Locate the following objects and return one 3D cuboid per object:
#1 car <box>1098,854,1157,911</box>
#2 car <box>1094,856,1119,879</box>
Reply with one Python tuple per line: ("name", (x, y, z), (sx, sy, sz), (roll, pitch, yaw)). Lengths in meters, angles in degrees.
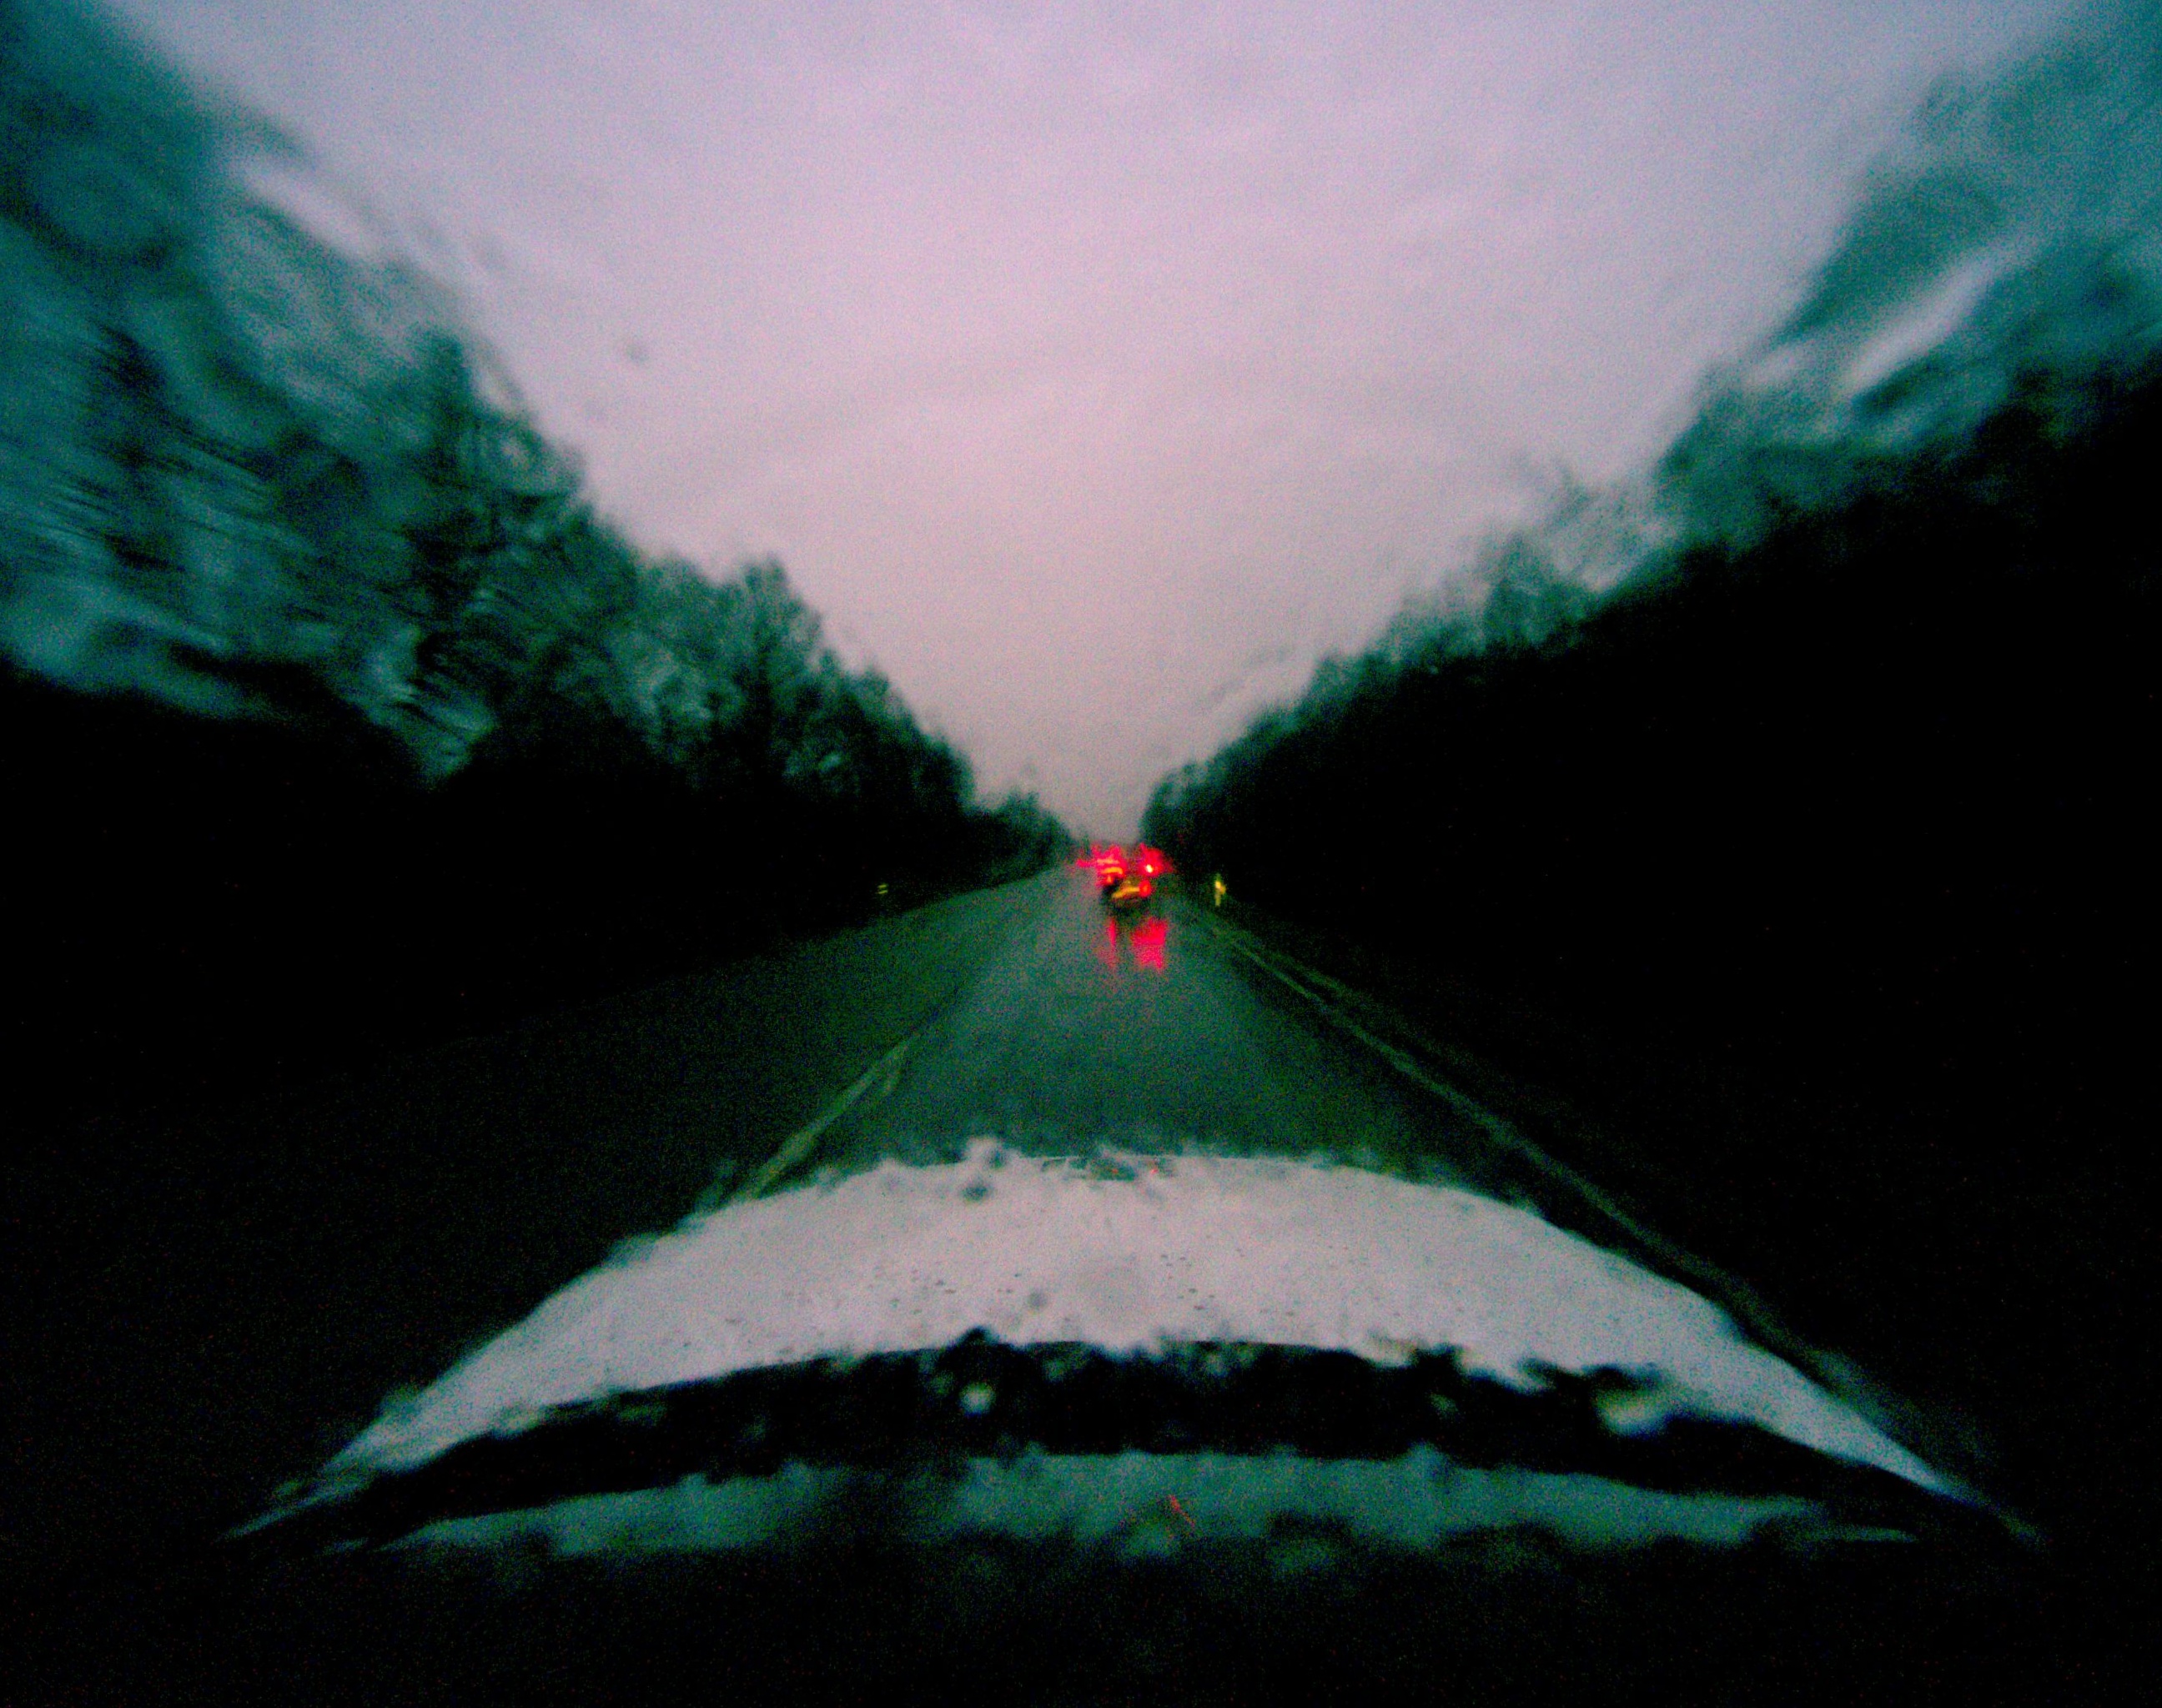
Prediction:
("car", (1.492, 0.860, 26.052), (1.720, 1.643, 4.003), (-1, -1, 3))
("car", (1.906, 1.014, 60.568), (1.720, 1.643, 4.003), (-1, -1, 3))
